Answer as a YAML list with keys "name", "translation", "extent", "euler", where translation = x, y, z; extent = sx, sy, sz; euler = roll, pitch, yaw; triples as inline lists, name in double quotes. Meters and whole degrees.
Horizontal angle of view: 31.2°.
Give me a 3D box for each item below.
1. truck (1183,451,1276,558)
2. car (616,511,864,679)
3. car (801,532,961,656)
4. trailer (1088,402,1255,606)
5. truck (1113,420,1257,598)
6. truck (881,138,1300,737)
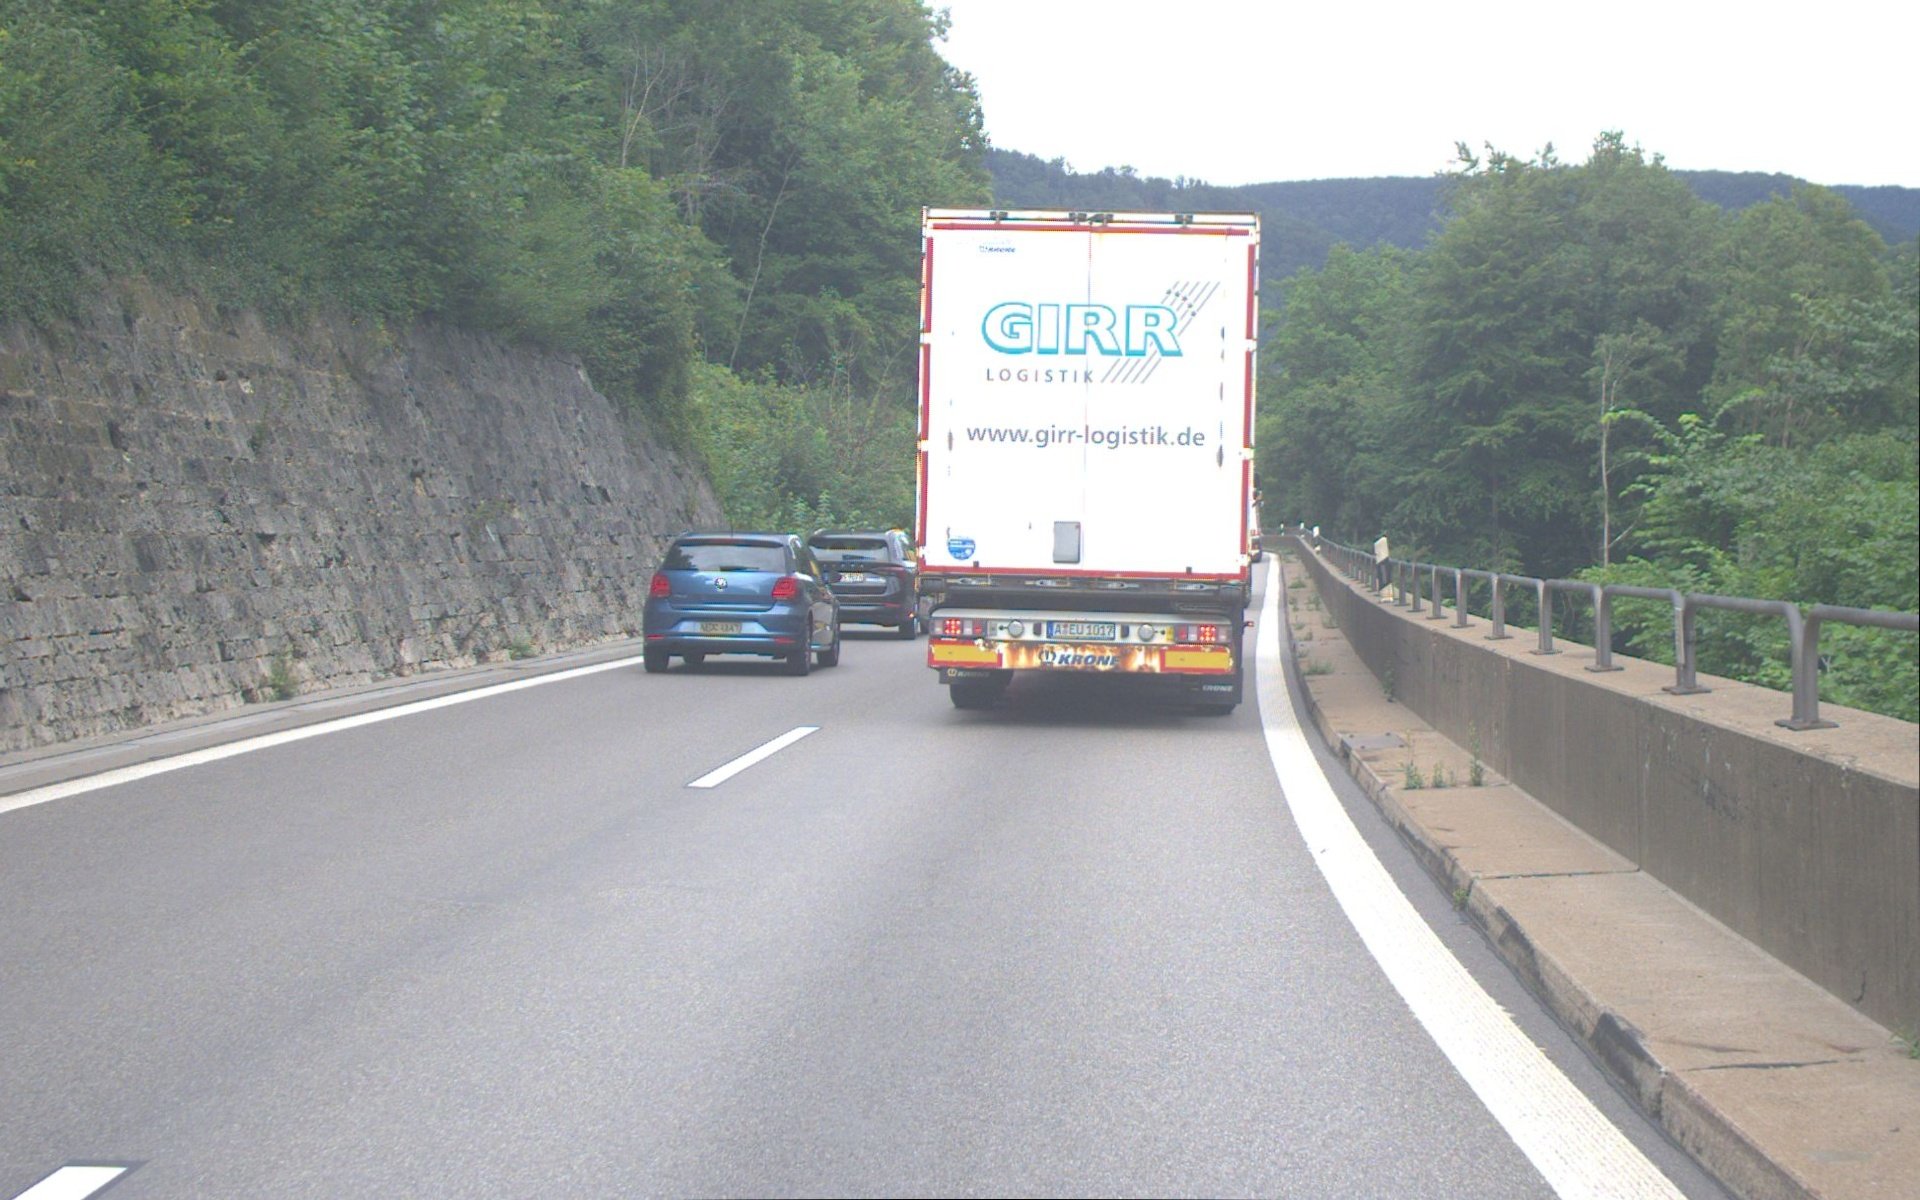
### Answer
- name: "truck"
  translation: [9.990, -3.451, 126.540]
  extent: [2.972, 3.752, 10.359]
  euler: [1, 1, 7]
- name: "car"
  translation: [-2.209, -0.102, 35.681]
  extent: [1.994, 1.590, 4.353]
  euler: [1, 2, 4]
- name: "car"
  translation: [-1.023, -0.089, 46.367]
  extent: [1.745, 1.581, 3.999]
  euler: [1, 0, 4]
- name: "trailer"
  translation: [4.494, -1.922, 70.771]
  extent: [2.971, 3.752, 12.452]
  euler: [2, 1, 5]
- name: "truck"
  translation: [5.092, -2.015, 76.891]
  extent: [2.971, 3.752, 5.570]
  euler: [2, 1, 5]
- name: "truck"
  translation: [1.502, -1.388, 33.229]
  extent: [3.085, 4.448, 15.154]
  euler: [1, 1, 4]
